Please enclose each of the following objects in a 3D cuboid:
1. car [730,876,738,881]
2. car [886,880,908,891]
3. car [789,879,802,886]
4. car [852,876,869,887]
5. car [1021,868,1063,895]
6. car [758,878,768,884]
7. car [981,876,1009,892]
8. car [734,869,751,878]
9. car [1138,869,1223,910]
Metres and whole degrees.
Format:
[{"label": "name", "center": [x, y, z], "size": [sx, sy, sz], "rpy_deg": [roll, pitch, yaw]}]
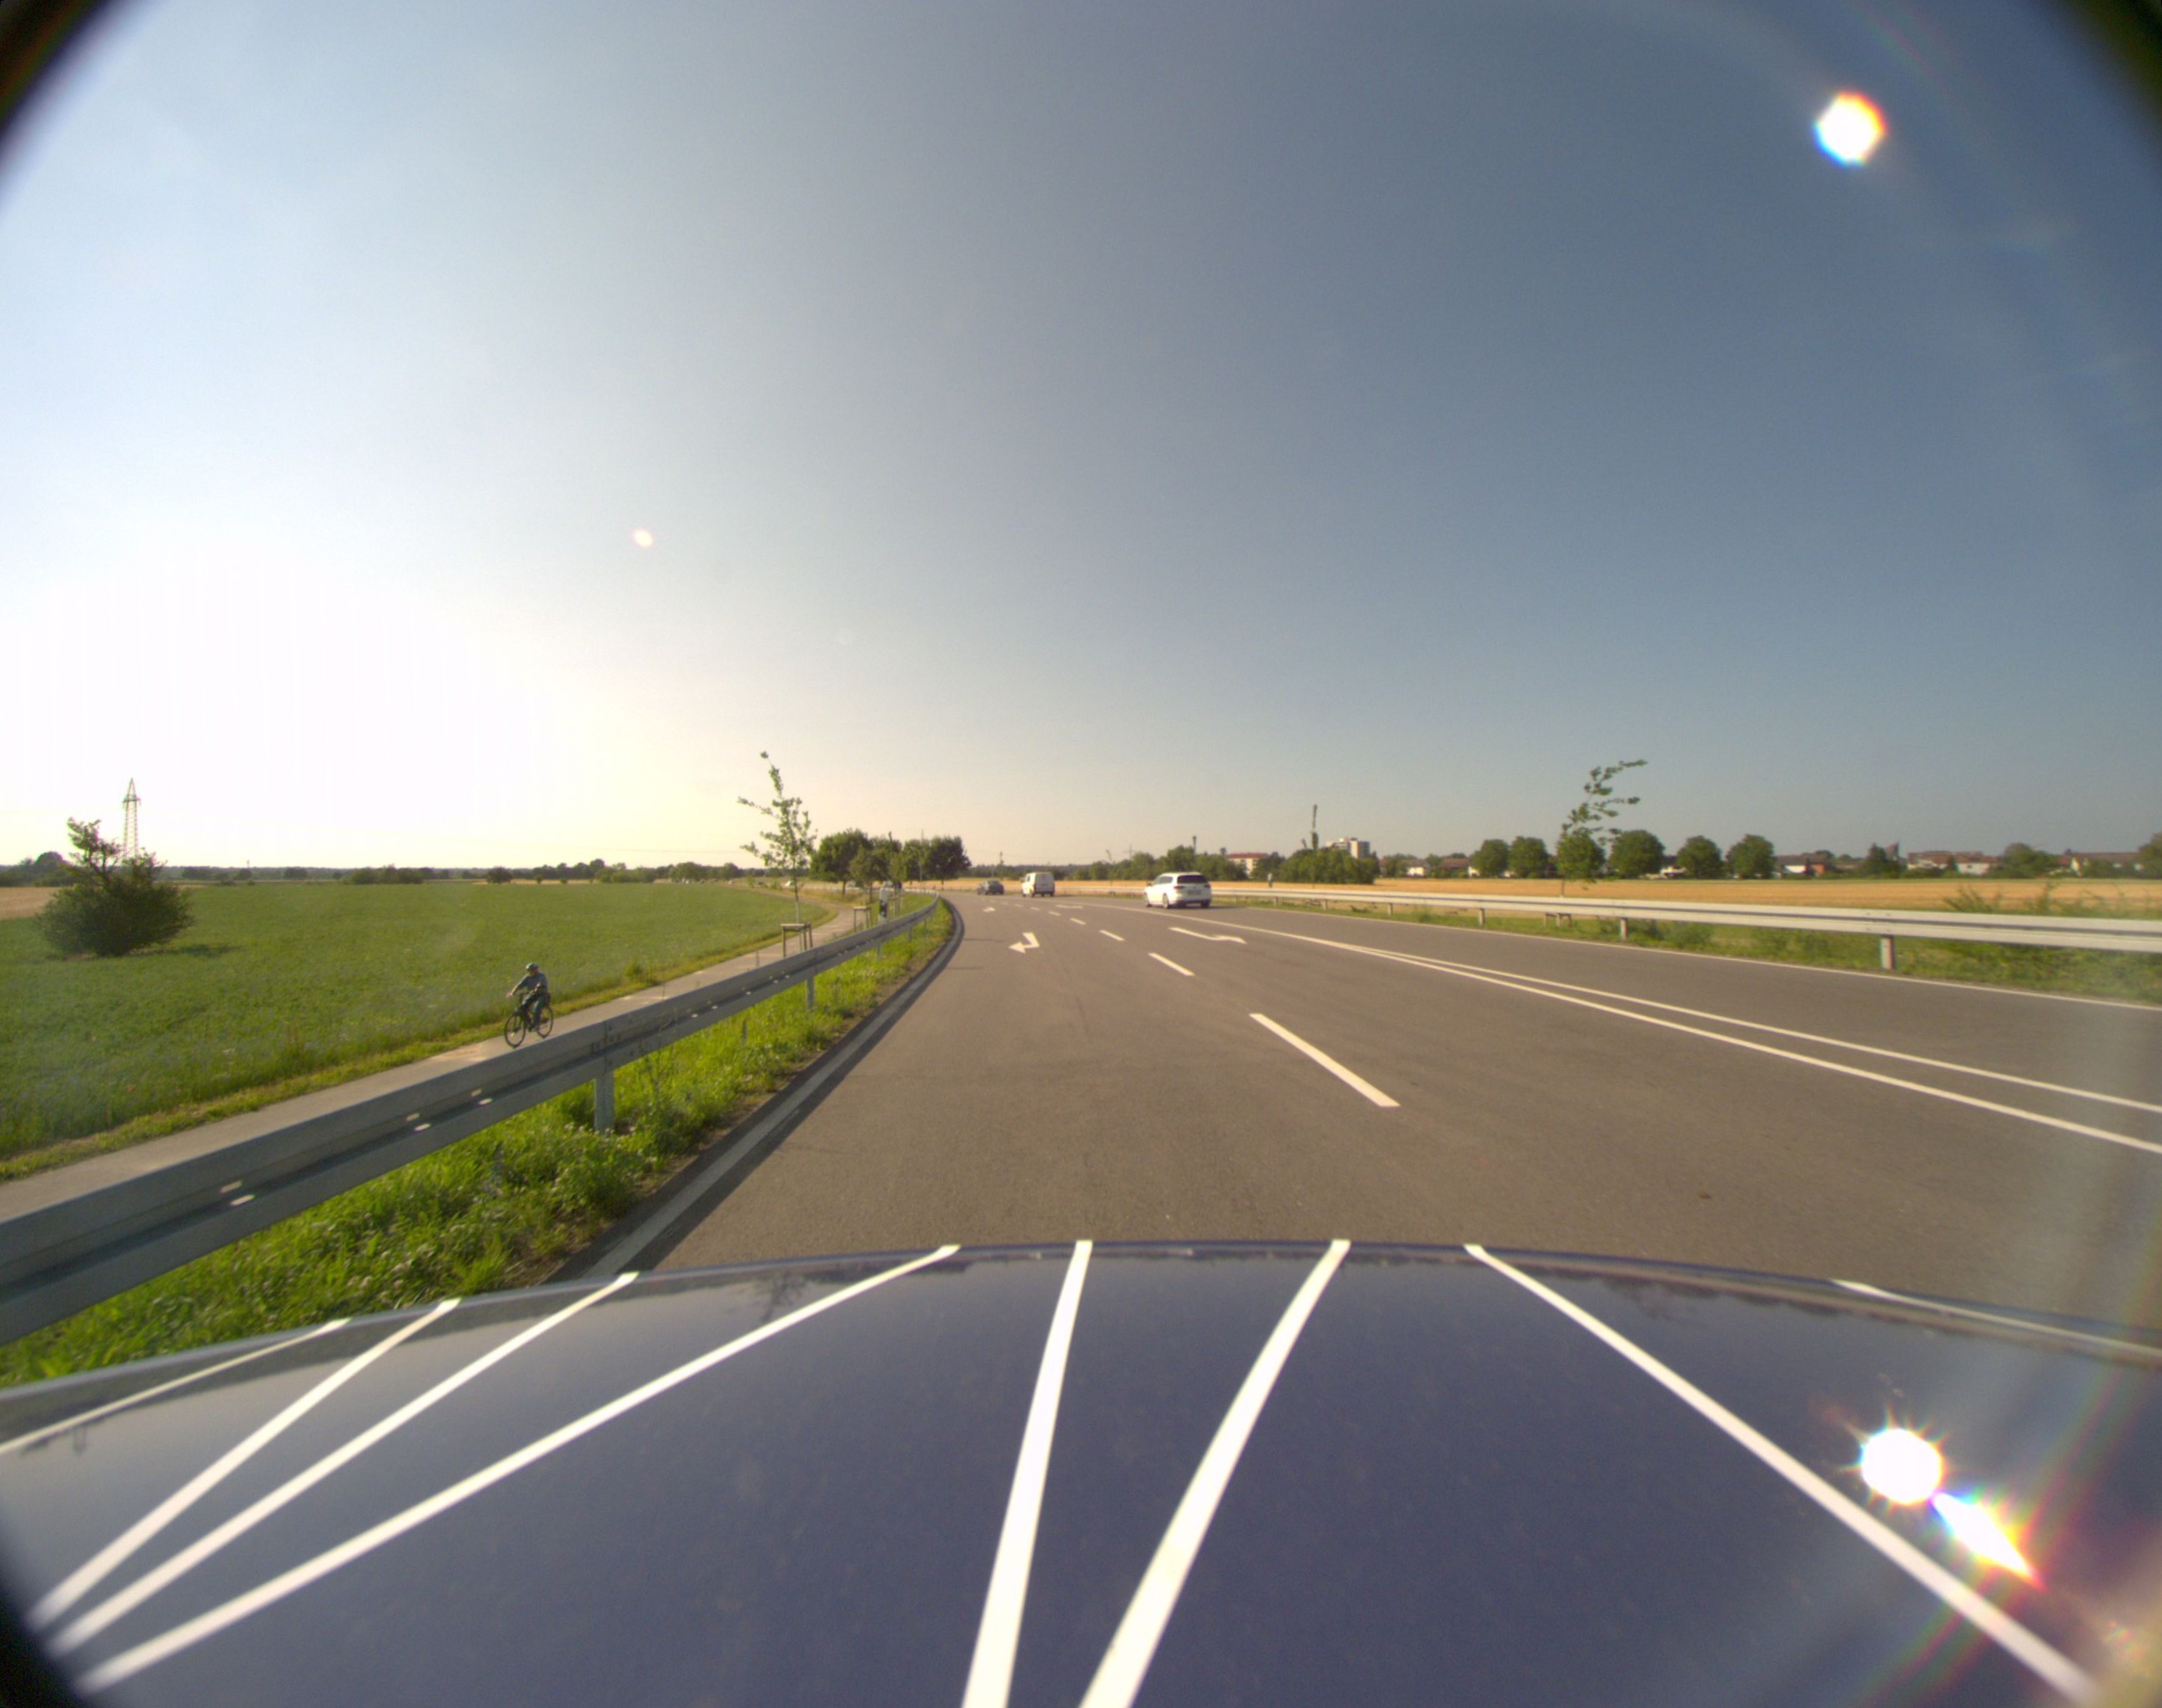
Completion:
[{"label": "car", "center": [-108.547, 7.551, 237.656], "size": [1.760, 1.421, 3.837], "rpy_deg": [-2, 0, -34]}, {"label": "car", "center": [-28.067, 4.732, 115.689], "size": [2.003, 1.583, 4.853], "rpy_deg": [-1, -1, -29]}, {"label": "car", "center": [-65.036, 6.491, 172.830], "size": [1.862, 1.440, 4.144], "rpy_deg": [-2, 0, -34]}, {"label": "car", "center": [-38.396, 4.773, 132.344], "size": [1.891, 1.787, 5.080], "rpy_deg": [-2, 1, -27]}, {"label": "car", "center": [-3.285, 2.332, 62.684], "size": [2.123, 2.001, 5.149], "rpy_deg": [-2, -3, -17]}, {"label": "car", "center": [-84.388, 7.135, 201.583], "size": [1.846, 1.535, 4.234], "rpy_deg": [-3, 1, -33]}, {"label": "car", "center": [-8.594, 3.008, 75.698], "size": [1.802, 1.439, 4.701], "rpy_deg": [-2, -3, -19]}, {"label": "car", "center": [-82.647, 4.820, 185.482], "size": [2.821, 2.002, 6.088], "rpy_deg": [-2, 0, -31]}, {"label": "car", "center": [4.092, 1.537, 32.311], "size": [2.122, 1.483, 5.151], "rpy_deg": [-2, -3, -9]}]
